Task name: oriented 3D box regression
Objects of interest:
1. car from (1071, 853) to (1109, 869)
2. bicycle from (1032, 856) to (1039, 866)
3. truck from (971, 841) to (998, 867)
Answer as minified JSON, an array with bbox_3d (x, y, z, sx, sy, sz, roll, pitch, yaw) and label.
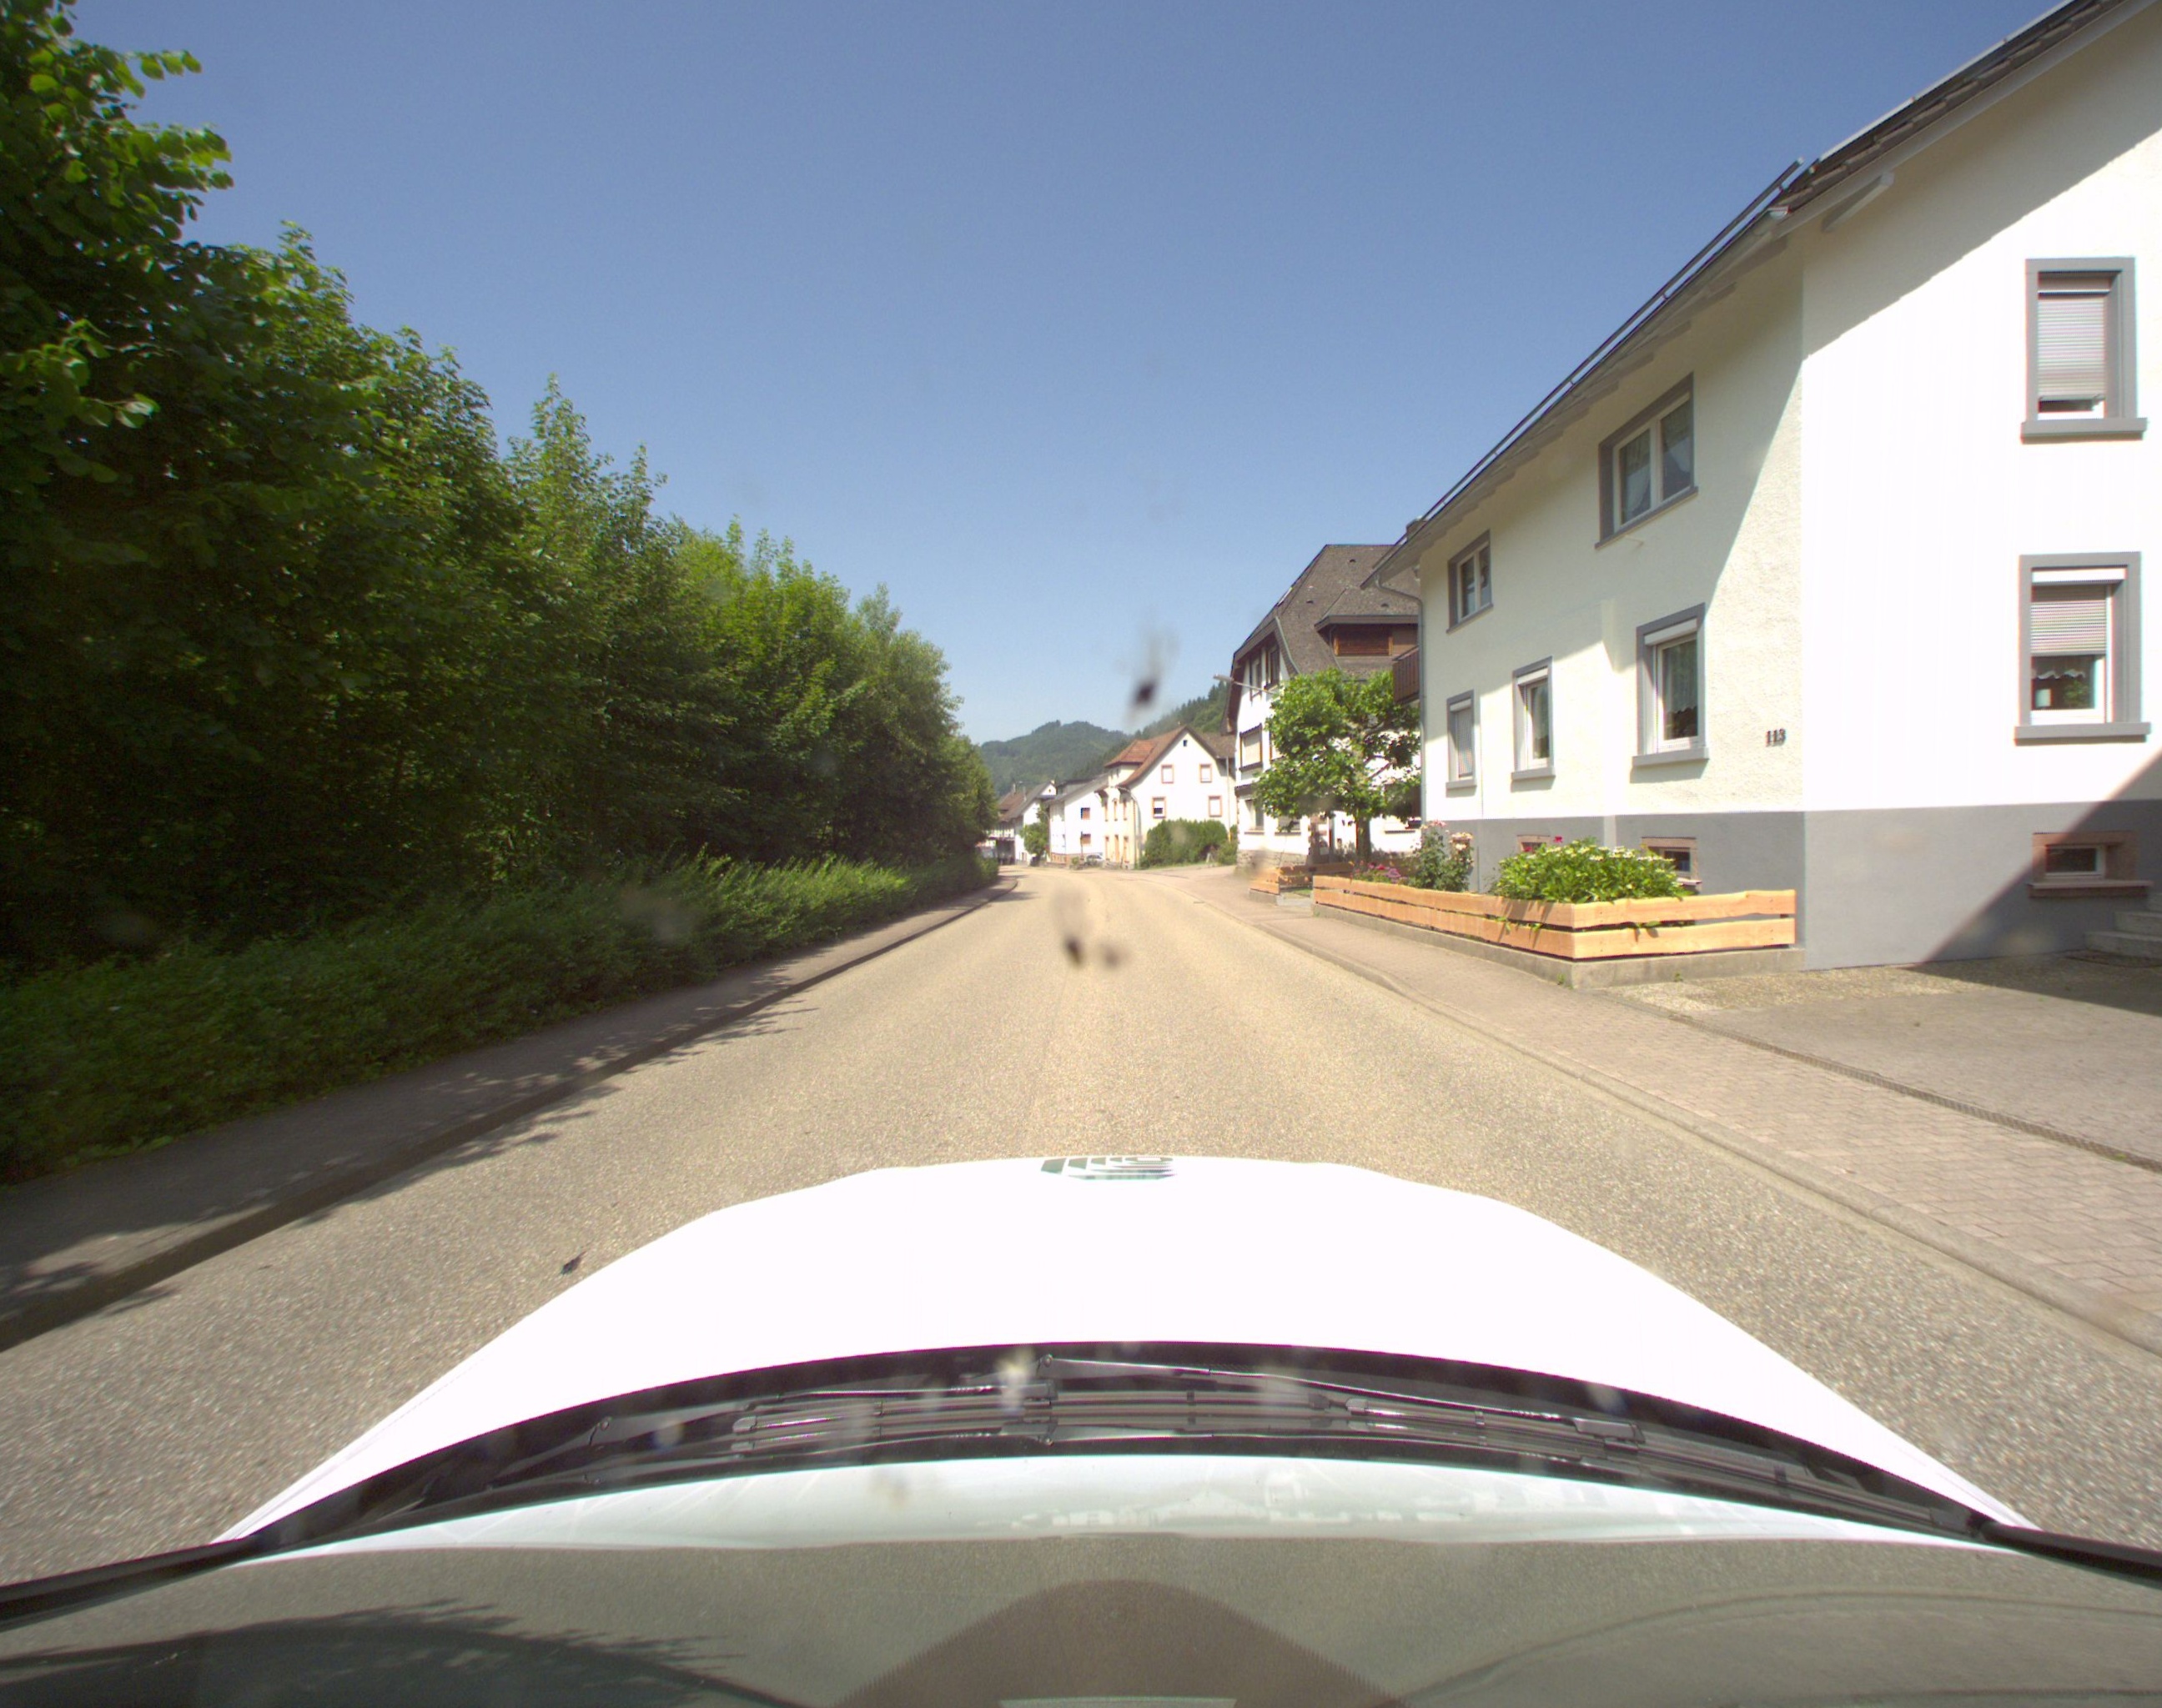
[{"bbox_3d":[0.959,0.776,87.558,3.727,1.427,1.620,-4,0,34],"label":"car"},{"bbox_3d":[-6.270,0.927,111.948,0.425,1.396,2.268,-6,1,-11],"label":"bicycle"},{"bbox_3d":[-16.853,0.067,141.736,3.369,3.781,8.396,-6,-1,-15],"label":"truck"}]
